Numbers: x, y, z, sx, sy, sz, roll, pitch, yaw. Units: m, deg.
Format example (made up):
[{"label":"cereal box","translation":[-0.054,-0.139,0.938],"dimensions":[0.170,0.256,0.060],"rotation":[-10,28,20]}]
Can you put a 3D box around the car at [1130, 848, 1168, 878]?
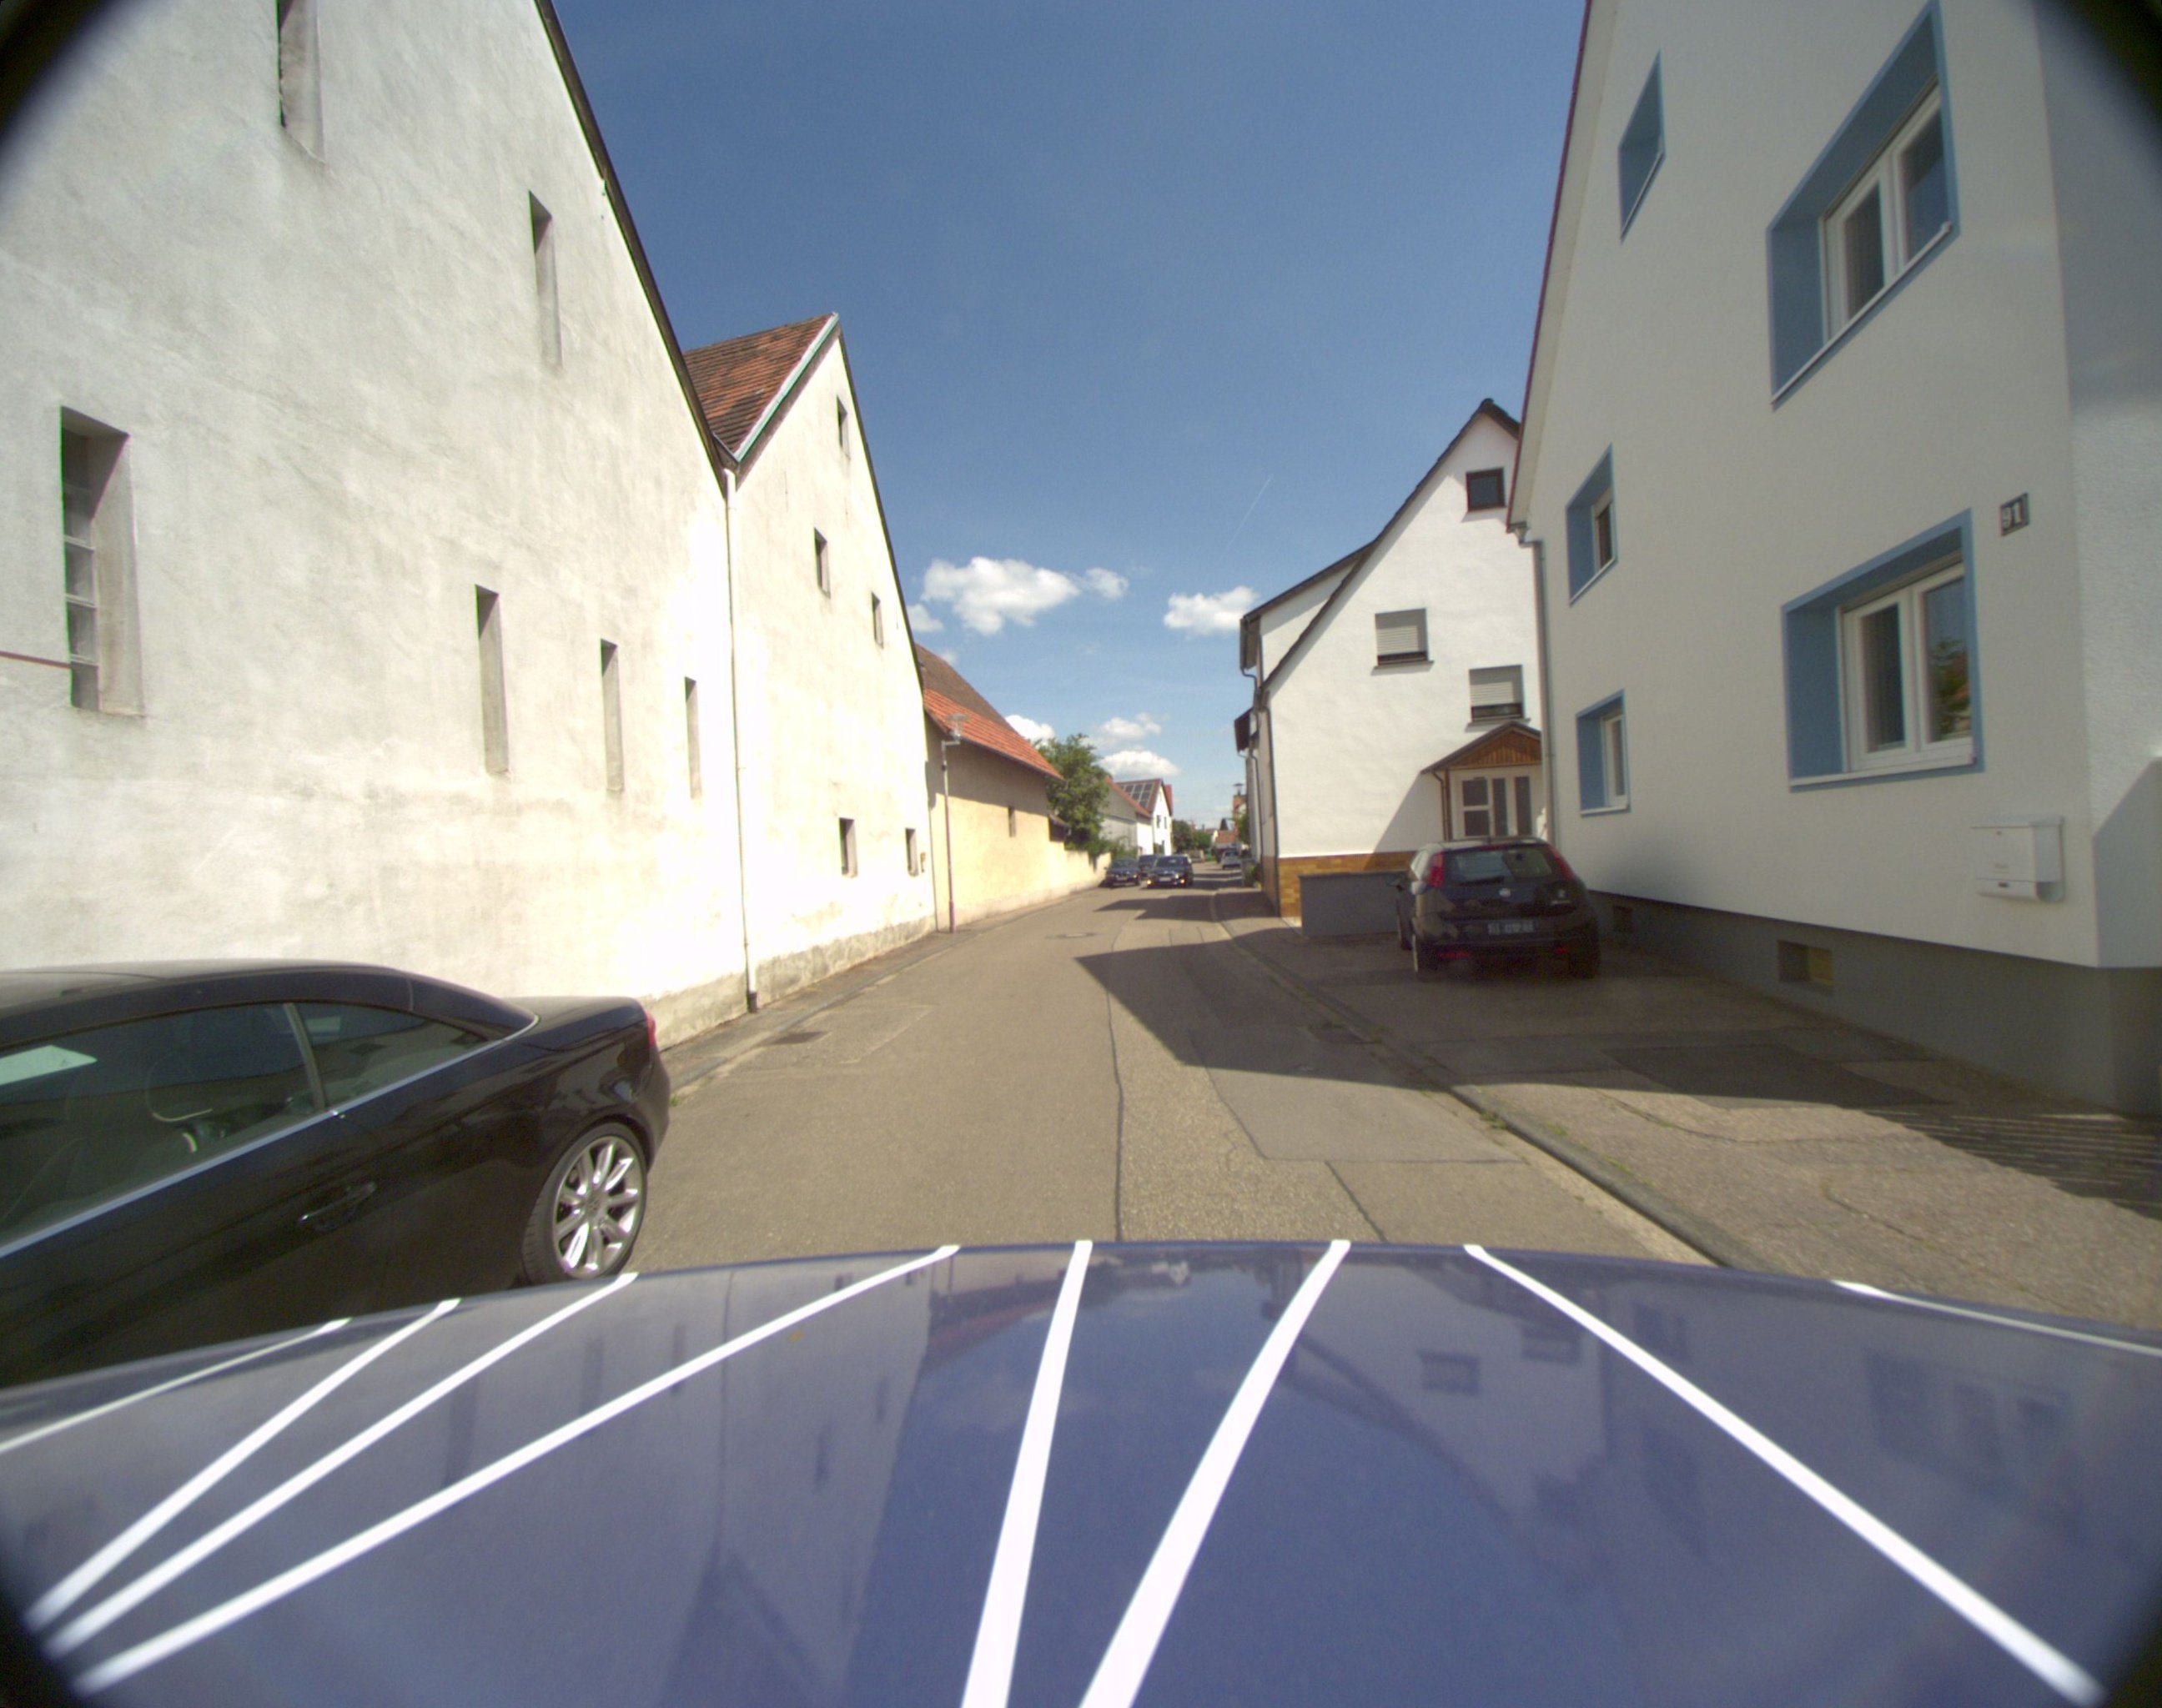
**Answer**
[{"label":"car","translation":[4.377,0.517,48.332],"dimensions":[1.783,1.600,4.003],"rotation":[-6,0,12]}]

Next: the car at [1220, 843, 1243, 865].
[{"label":"car","translation":[13.252,-0.018,66.683],"dimensions":[1.783,1.600,4.003],"rotation":[-6,0,12]}]

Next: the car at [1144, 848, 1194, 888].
[{"label":"car","translation":[4.137,0.593,35.031],"dimensions":[1.783,1.527,4.713],"rotation":[-3,1,12]}]

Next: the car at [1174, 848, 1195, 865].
[{"label":"car","translation":[10.974,0.265,80.685],"dimensions":[1.783,1.491,4.042],"rotation":[-6,0,12]}]

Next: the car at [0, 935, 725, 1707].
[{"label":"car","translation":[-2.845,1.154,1.540],"dimensions":[1.900,1.357,4.415],"rotation":[-4,0,3]}]

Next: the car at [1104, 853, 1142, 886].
[{"label":"car","translation":[2.244,0.770,39.531],"dimensions":[1.784,1.471,4.001],"rotation":[-3,0,5]}]

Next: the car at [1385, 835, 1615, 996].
[{"label":"car","translation":[4.635,0.575,8.970],"dimensions":[1.640,1.446,3.791],"rotation":[-4,0,19]}]
